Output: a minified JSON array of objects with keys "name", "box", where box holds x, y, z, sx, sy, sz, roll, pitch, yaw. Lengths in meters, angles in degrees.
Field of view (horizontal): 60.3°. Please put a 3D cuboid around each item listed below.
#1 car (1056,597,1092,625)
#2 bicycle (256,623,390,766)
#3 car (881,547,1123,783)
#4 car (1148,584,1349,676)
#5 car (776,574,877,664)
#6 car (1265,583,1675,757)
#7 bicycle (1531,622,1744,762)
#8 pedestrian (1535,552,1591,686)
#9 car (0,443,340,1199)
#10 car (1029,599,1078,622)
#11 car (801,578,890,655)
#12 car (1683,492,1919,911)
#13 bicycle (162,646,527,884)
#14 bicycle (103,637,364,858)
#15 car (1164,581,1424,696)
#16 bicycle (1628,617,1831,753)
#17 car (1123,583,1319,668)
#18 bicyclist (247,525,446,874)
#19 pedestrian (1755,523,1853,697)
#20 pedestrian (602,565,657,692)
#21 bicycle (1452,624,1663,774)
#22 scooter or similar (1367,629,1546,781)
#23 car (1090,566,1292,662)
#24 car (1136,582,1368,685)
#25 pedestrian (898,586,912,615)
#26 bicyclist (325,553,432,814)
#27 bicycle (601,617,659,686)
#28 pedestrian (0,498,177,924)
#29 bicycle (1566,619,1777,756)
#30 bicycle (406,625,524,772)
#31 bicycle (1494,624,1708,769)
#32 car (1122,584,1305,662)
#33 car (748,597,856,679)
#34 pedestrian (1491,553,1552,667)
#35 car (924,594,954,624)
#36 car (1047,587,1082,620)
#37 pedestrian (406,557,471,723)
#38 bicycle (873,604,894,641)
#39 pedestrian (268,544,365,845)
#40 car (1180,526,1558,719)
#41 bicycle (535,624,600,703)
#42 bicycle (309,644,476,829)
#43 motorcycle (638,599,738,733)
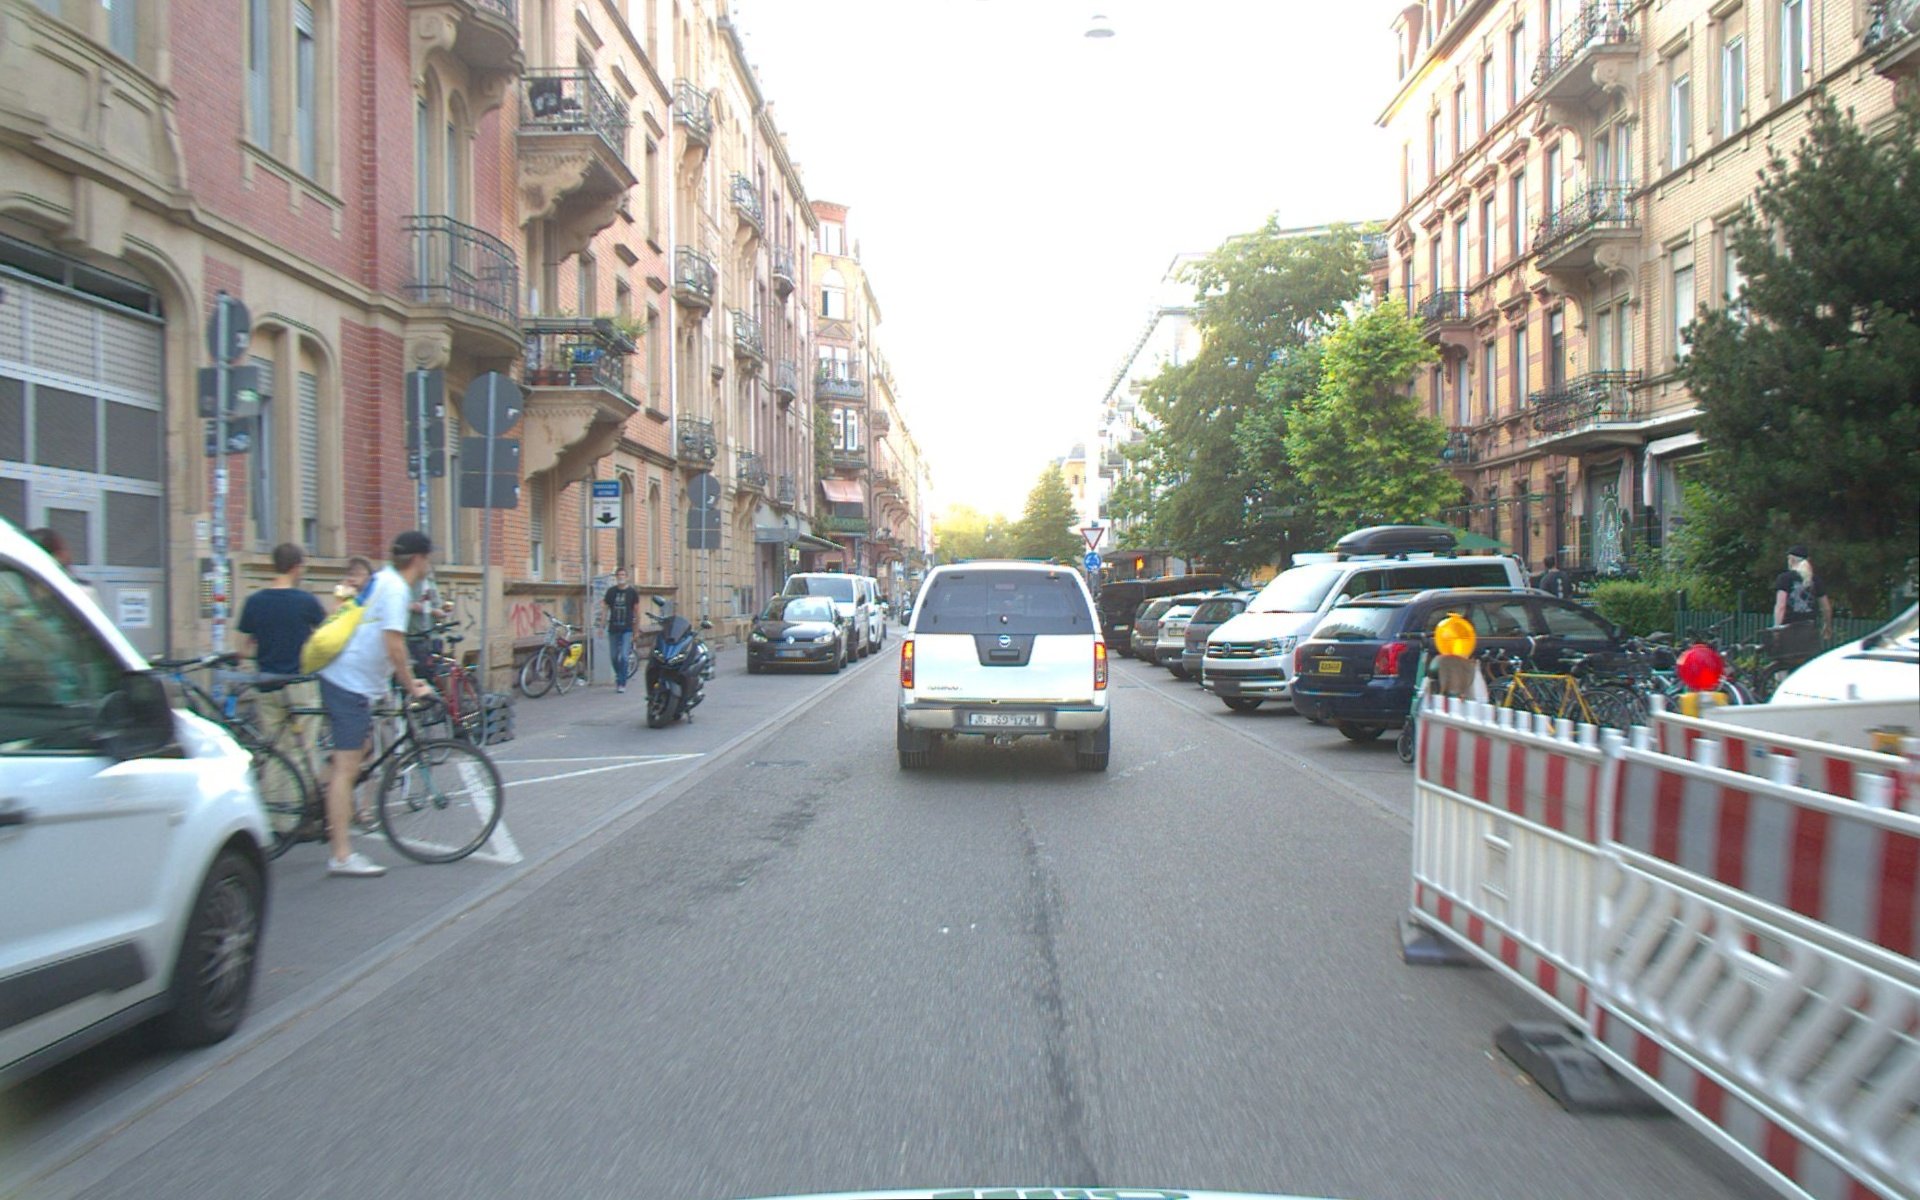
[{"name":"car","box":[6.567,0.626,95.598,1.797,1.569,4.000,1,-1,0]},{"name":"bicycle","box":[-5.619,0.799,14.681,0.403,1.180,1.838,1,-1,2]},{"name":"car","box":[0.536,0.534,15.611,1.897,1.842,5.003,1,-1,5]},{"name":"car","box":[6.007,0.587,34.226,4.066,1.618,1.794,-4,1,-37]},{"name":"car","box":[-3.018,0.410,38.207,1.799,1.955,4.846,0,0,2]},{"name":"car","box":[5.247,0.643,17.006,3.807,1.542,1.833,-1,0,-26]},{"name":"bicycle","box":[6.071,0.791,14.912,0.490,1.156,1.793,-3,1,-33]},{"name":"pedestrian","box":[9.325,0.292,25.577,0.610,2.049,0.655,1,-1,0]},{"name":"car","box":[-3.114,0.534,3.744,1.734,1.820,4.586,1,-1,-1]},{"name":"car","box":[7.658,0.870,135.707,3.905,1.780,1.840,1,-1,0]},{"name":"car","box":[-3.007,0.420,44.348,2.066,1.955,5.025,0,0,-1]},{"name":"car","box":[6.850,0.349,8.862,5.067,1.989,1.899,-3,1,0]},{"name":"bicycle","box":[-3.246,0.847,8.826,1.751,1.175,0.517,1,-1,-21]},{"name":"bicycle","box":[-4.331,0.824,10.041,0.456,1.175,2.002,1,-1,8]},{"name":"car","box":[5.689,0.604,28.097,4.110,1.618,1.867,-4,1,-30]},{"name":"bicycle","box":[7.143,0.755,15.449,0.489,1.156,1.799,-2,1,-26]},{"name":"car","box":[5.803,0.541,36.613,4.055,1.578,1.799,-4,1,-31]},{"name":"bicyclist","box":[-3.159,0.494,8.553,0.770,1.733,0.529,1,-1,8]},{"name":"pedestrian","box":[8.999,0.107,17.662,0.670,1.780,0.827,-3,-1,14]},{"name":"pedestrian","box":[-4.923,0.423,24.668,0.668,1.842,0.960,1,-1,-5]},{"name":"bicycle","box":[5.095,0.811,14.222,0.490,1.156,1.796,-3,1,-30]},{"name":"scooter or similar","box":[4.216,0.862,14.135,0.646,1.170,1.474,-2,1,-23]},{"name":"car","box":[6.005,0.327,42.630,5.382,2.108,1.907,-4,1,-38]},{"name":"car","box":[5.500,0.594,31.020,4.054,1.618,1.800,-4,1,-30]},{"name":"pedestrian","box":[-3.120,0.038,94.061,0.781,1.649,0.944,1,-1,-2]},{"name":"bicyclist","box":[-3.692,0.519,10.525,0.456,1.618,0.487,1,-1,4]},{"name":"bicycle","box":[-5.572,0.851,28.018,0.735,1.120,2.023,1,-1,-6]},{"name":"pedestrian","box":[-4.024,0.486,7.550,0.586,1.846,0.719,1,-1,-8]},{"name":"bicycle","box":[6.512,0.768,15.224,0.490,1.156,1.793,-3,1,-33]},{"name":"bicycle","box":[-4.272,0.818,14.389,0.403,1.180,1.838,1,-1,2]},{"name":"bicycle","box":[5.610,0.813,14.575,0.490,1.156,1.793,-3,1,-33]},{"name":"car","box":[6.041,0.518,39.290,4.055,1.578,1.799,-4,1,-31]},{"name":"car","box":[-3.024,0.692,32.400,1.799,1.496,4.172,0,0,-1]},{"name":"pedestrian","box":[8.556,0.156,25.225,0.613,1.710,0.653,1,-1,-15]},{"name":"car","box":[-1.270,0.541,101.968,1.797,1.780,4.000,1,-1,0]},{"name":"car","box":[6.563,0.242,104.384,1.903,1.967,4.000,1,-1,0]},{"name":"pedestrian","box":[-5.811,0.441,18.452,0.453,1.821,0.642,1,-1,4]},{"name":"bicycle","box":[-2.520,0.736,54.312,0.461,1.162,1.785,1,-1,4]},{"name":"pedestrian","box":[-3.793,0.551,9.764,0.409,1.739,0.350,1,-1,-4]},{"name":"car","box":[5.598,0.231,22.560,4.861,2.403,1.984,-1,0,-26]},{"name":"bicycle","box":[-5.500,0.871,23.248,0.438,1.048,1.741,1,-1,2]},{"name":"bicycle","box":[-3.674,0.849,10.811,0.456,1.087,1.521,1,-1,4]},{"name":"motorcycle","box":[-3.058,0.724,18.797,0.670,1.429,2.015,1,-1,3]}]
